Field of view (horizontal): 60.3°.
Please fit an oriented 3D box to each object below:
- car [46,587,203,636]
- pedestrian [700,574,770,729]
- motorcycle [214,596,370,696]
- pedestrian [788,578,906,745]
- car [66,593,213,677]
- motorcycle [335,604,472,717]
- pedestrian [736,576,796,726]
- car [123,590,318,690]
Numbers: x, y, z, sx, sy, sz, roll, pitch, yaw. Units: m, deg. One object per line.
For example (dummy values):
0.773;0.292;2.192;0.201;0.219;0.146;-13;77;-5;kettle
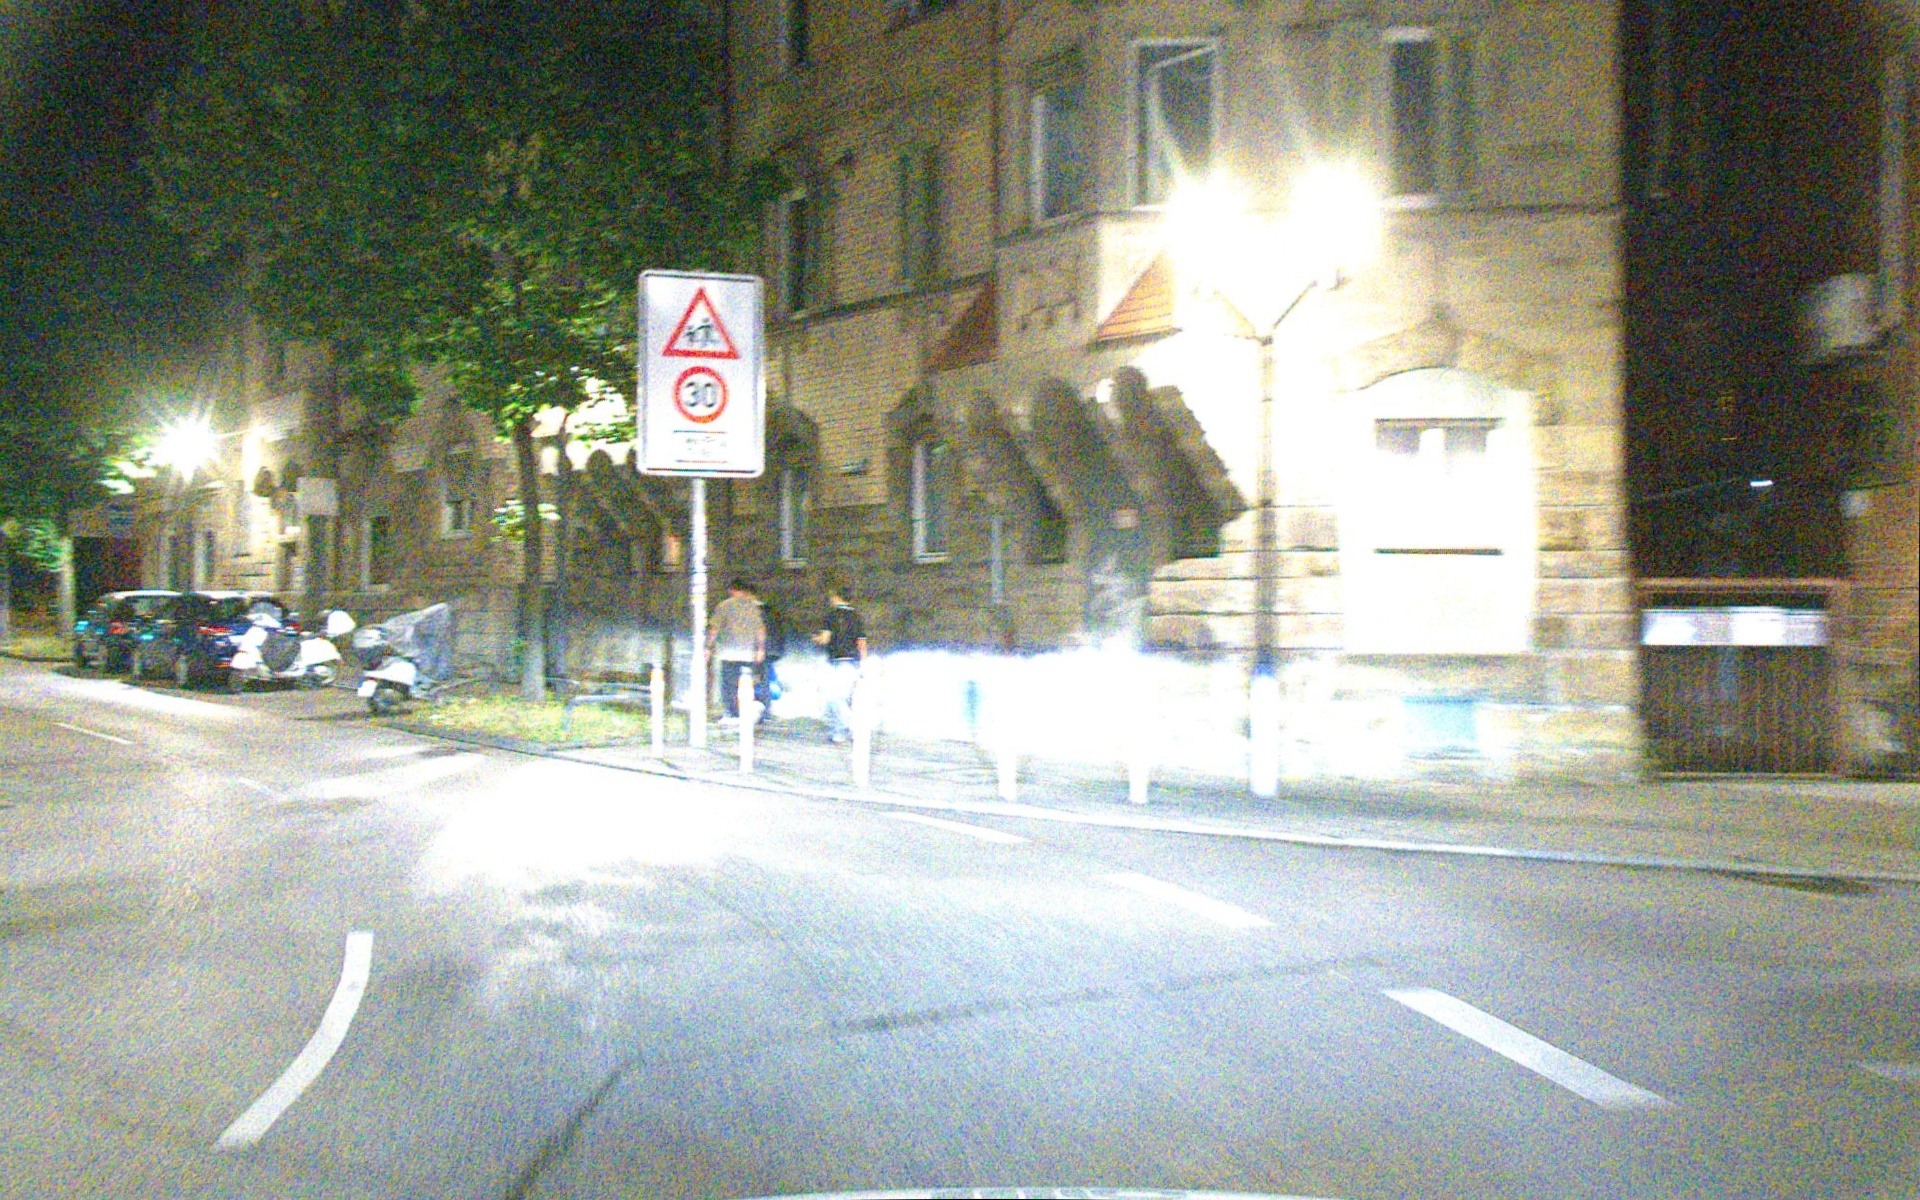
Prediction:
-25.696;0.358;50.925;3.994;1.447;1.823;0;-1;-43;car
-2.588;0.574;19.002;0.503;1.739;0.695;0;0;-40;pedestrian
-10.292;0.676;25.527;0.907;1.430;2.049;0;1;40;motorcycle
-1.169;0.621;17.106;0.802;1.659;0.952;1;-1;-41;pedestrian
-15.612;0.619;31.377;1.725;1.479;3.945;0;0;-38;car
-7.160;0.752;21.400;0.744;1.377;1.946;0;0;14;motorcycle
-2.284;0.586;19.461;0.473;1.739;0.563;0;0;-40;pedestrian
-12.318;0.609;27.421;1.723;1.527;4.399;0;0;-42;car
